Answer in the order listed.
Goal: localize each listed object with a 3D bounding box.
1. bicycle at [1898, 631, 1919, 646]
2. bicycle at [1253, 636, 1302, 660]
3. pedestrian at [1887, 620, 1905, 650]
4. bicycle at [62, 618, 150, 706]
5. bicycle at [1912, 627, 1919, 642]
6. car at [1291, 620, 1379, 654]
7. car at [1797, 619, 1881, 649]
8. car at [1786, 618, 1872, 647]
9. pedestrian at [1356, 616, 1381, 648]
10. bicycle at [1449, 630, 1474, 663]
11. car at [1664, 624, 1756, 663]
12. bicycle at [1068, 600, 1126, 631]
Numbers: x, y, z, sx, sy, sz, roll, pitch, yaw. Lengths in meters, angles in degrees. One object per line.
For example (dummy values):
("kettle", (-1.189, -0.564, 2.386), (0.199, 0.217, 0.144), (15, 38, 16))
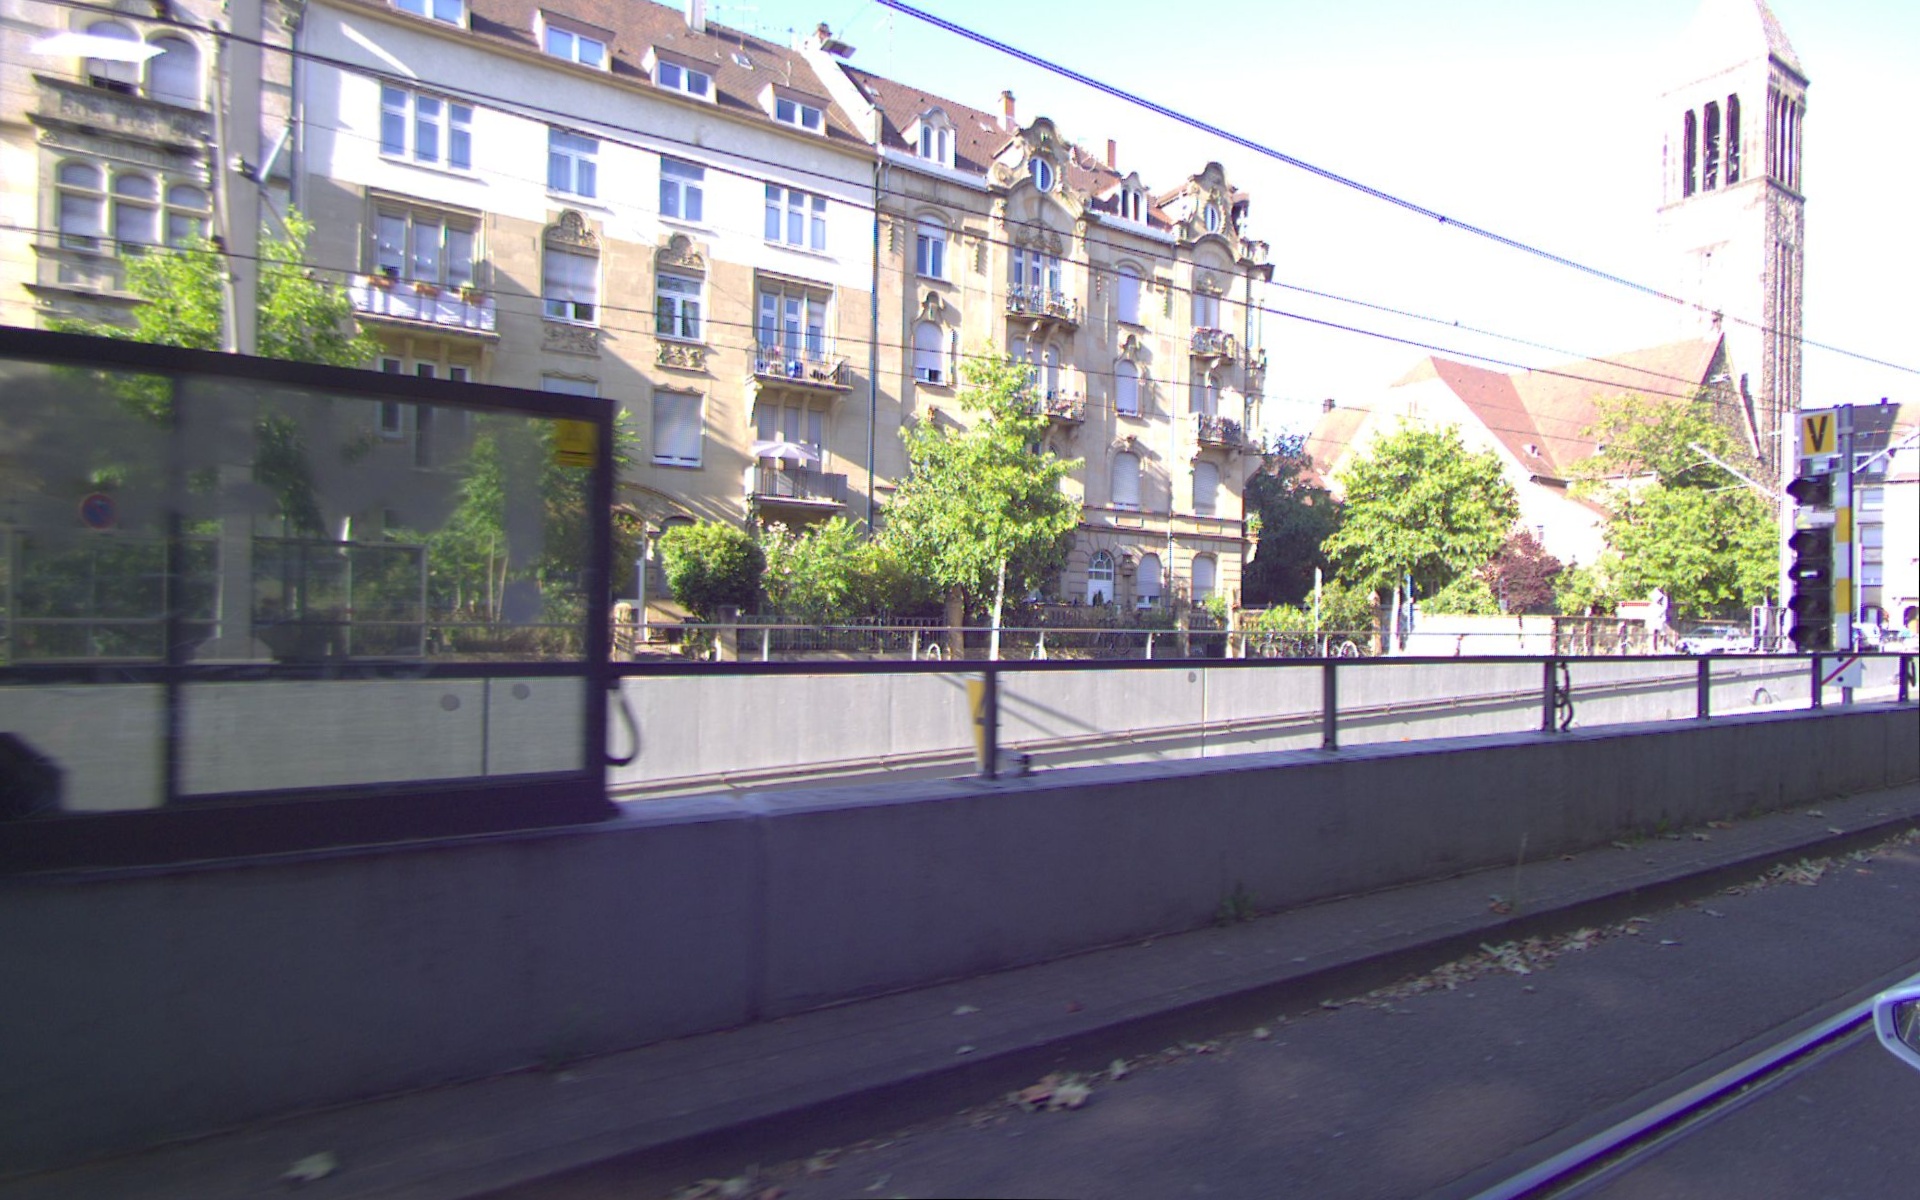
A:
("bicycle", (86.099, 3.481, 91.045), (0.809, 1.300, 2.561), (3, 2, 28))
("bicycle", (11.049, 1.663, 34.932), (1.864, 0.811, 0.414), (1, 2, -29))
("pedestrian", (61.668, 2.310, 66.160), (0.747, 1.913, 0.602), (1, 2, -29))
("bicycle", (-13.363, 0.935, 15.761), (0.591, 1.297, 1.725), (1, -1, -25))
("bicycle", (86.895, 3.170, 90.601), (0.809, 1.300, 2.561), (3, 2, 28))
("car", (19.016, 1.843, 51.104), (1.800, 1.673, 3.965), (1, -1, -32))
("car", (61.160, 2.351, 69.954), (1.871, 1.780, 3.969), (1, 2, -28))
("car", (58.912, 2.190, 68.145), (1.871, 1.651, 3.969), (1, 2, -28))
("pedestrian", (21.506, 1.668, 52.851), (0.918, 1.609, 0.745), (1, 2, -15))
("bicycle", (17.572, 1.608, 35.182), (0.478, 1.036, 1.887), (3, 2, 34))
("car", (34.125, 1.956, 45.681), (4.456, 1.576, 1.707), (1, 2, -30))
("bicycle", (4.802, 0.548, 35.105), (2.085, 1.032, 0.503), (1, 2, -28))
